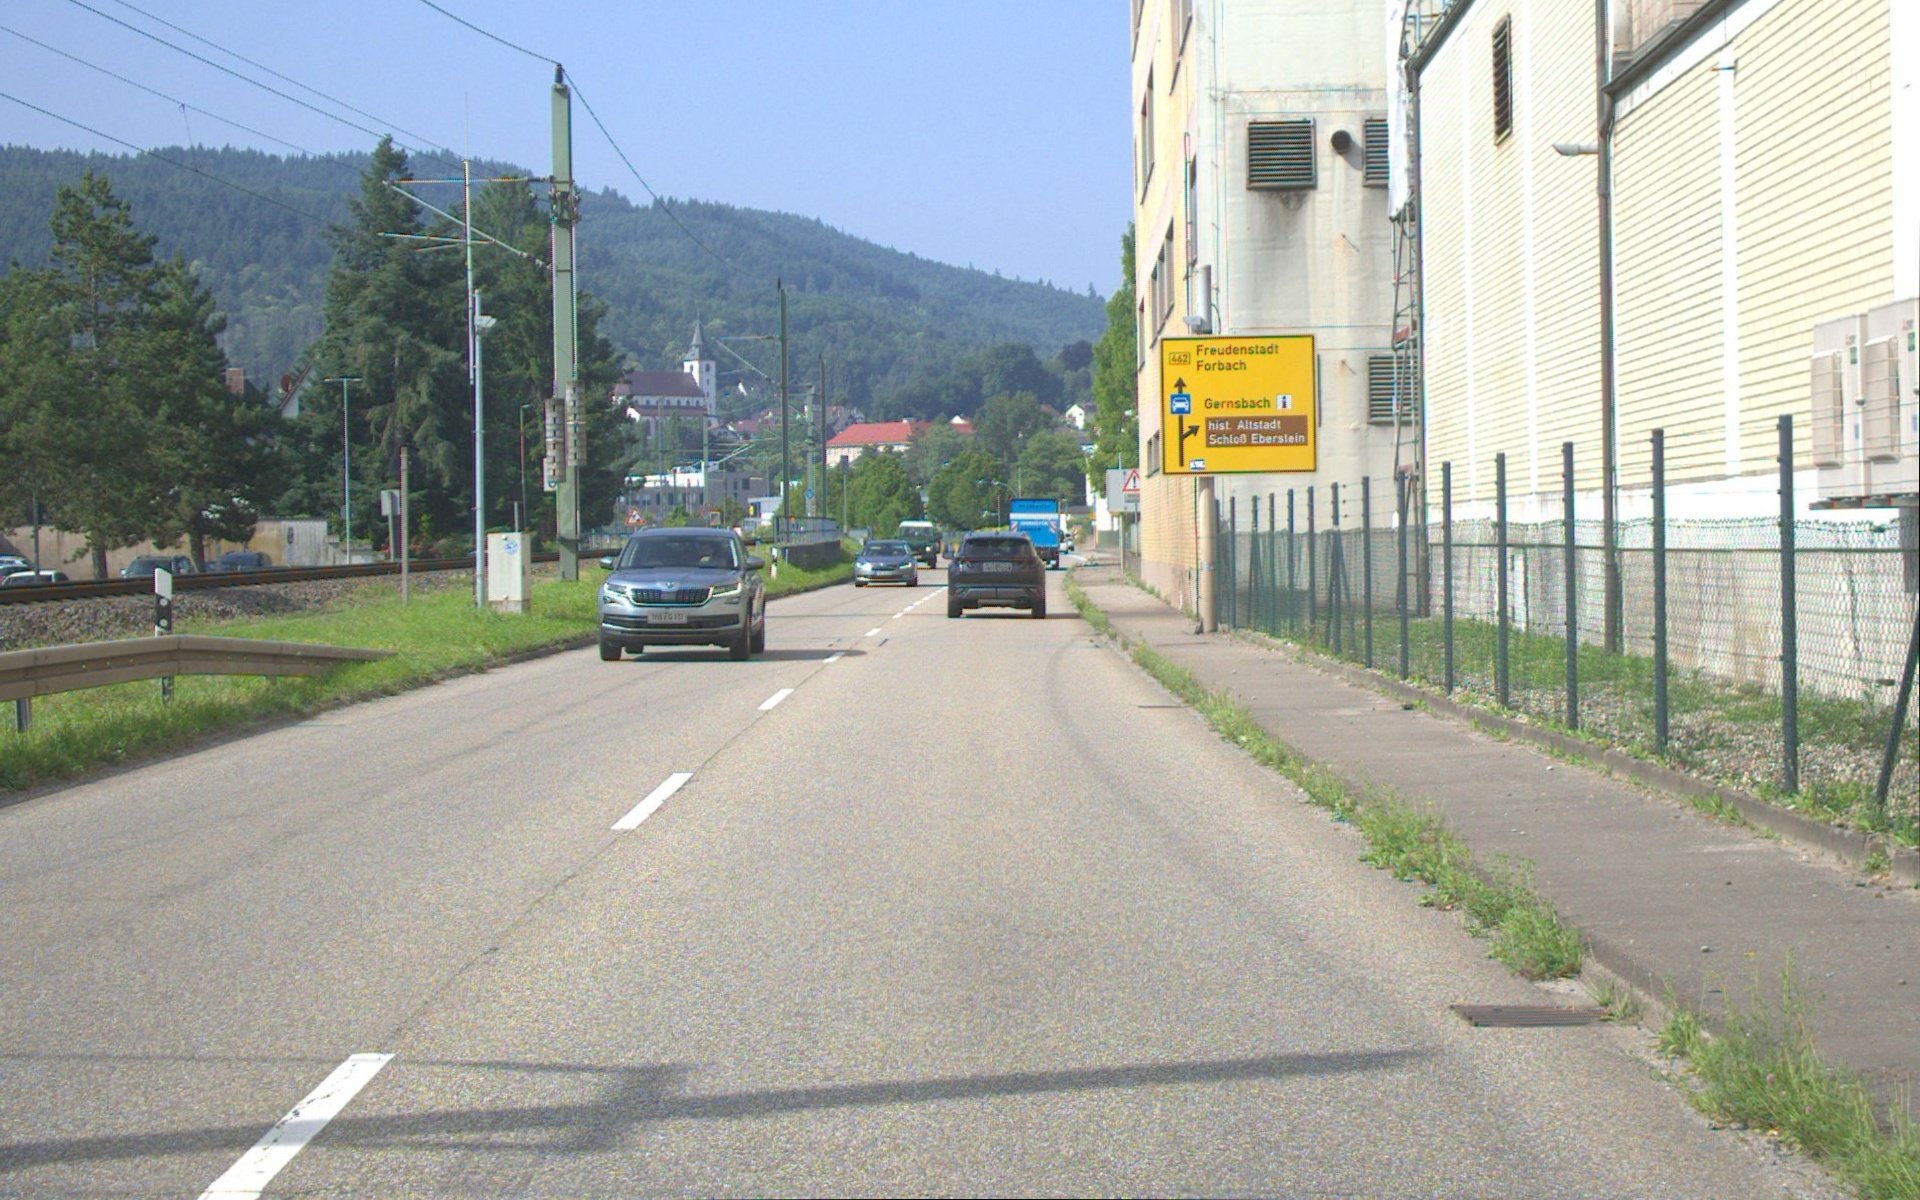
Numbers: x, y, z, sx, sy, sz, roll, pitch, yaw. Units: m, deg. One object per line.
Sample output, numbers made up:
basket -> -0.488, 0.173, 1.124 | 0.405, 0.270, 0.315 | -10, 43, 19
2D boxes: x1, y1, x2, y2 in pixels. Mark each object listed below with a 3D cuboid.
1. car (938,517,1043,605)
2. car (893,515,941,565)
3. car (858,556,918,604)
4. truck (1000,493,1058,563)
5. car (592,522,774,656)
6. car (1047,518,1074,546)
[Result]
car -> 0.612, -0.765, 66.162 | 1.919, 1.634, 4.000 | -1, 1, 2
car -> -1.831, -2.589, 147.595 | 1.758, 2.071, 4.807 | 1, 1, 2
car -> -2.215, -0.647, 106.891 | 1.767, 1.400, 4.297 | -1, 1, 0
truck -> 2.981, -3.139, 149.691 | 2.312, 2.960, 5.966 | -1, 1, -1
car -> -3.434, -0.159, 43.386 | 1.906, 1.595, 4.570 | 0, 1, 0
car -> 6.534, -4.404, 222.599 | 1.667, 1.816, 3.751 | -1, 1, 2
